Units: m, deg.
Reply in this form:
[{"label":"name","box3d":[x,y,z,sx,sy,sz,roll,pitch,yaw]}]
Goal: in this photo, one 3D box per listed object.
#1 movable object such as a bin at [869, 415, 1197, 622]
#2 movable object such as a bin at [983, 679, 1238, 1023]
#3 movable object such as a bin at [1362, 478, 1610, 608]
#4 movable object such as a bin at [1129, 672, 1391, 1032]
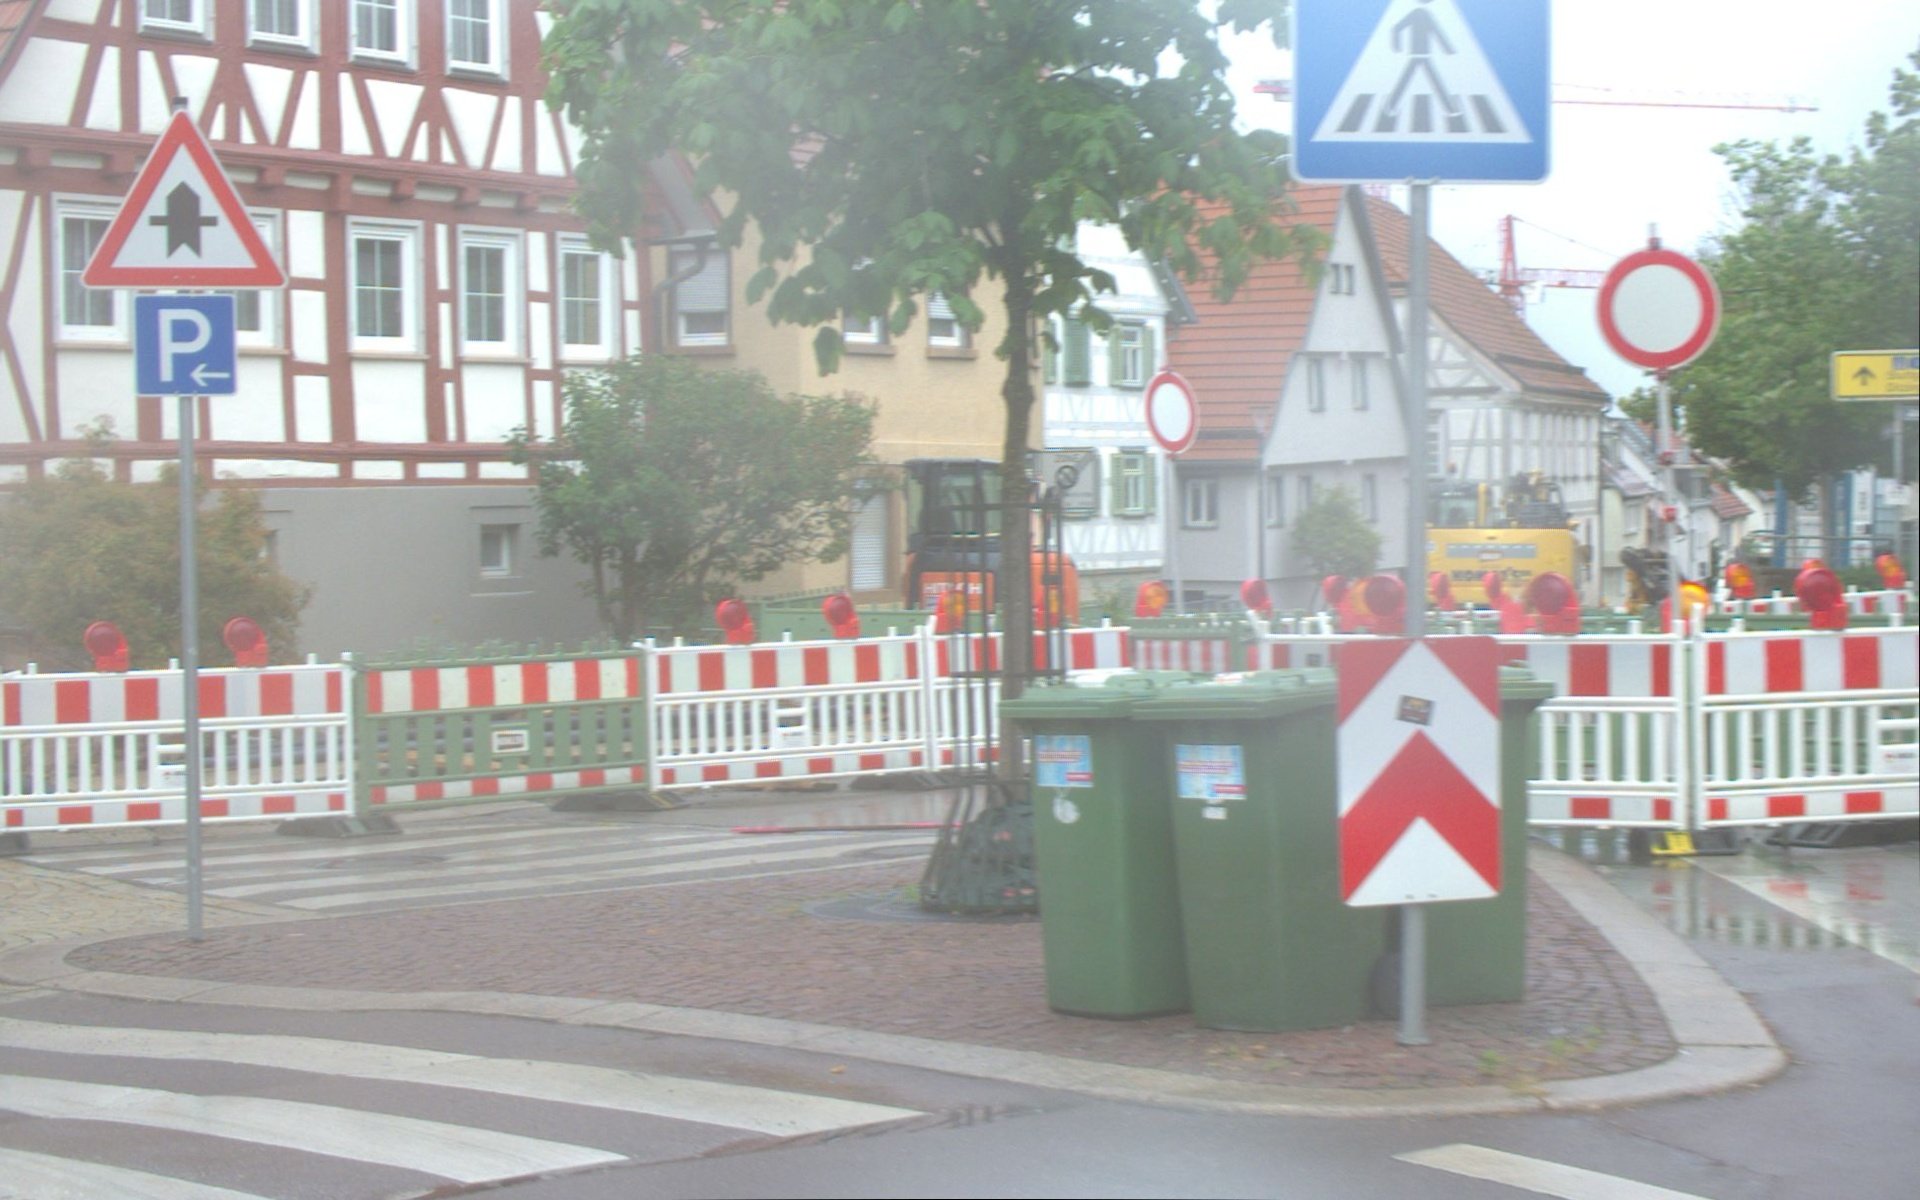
[{"label":"movable object such as a bin","box3d":[0.838,-0.824,36.273,1.907,2.007,3.994,-2,0,26]},{"label":"movable object such as a bin","box3d":[0.471,0.770,10.807,0.570,1.033,0.542,0,-1,-39]},{"label":"movable object such as a bin","box3d":[8.520,-0.914,55.404,3.405,2.007,3.475,1,1,18]},{"label":"movable object such as a bin","box3d":[0.896,0.737,10.290,0.533,1.029,0.544,0,-2,-39]}]
